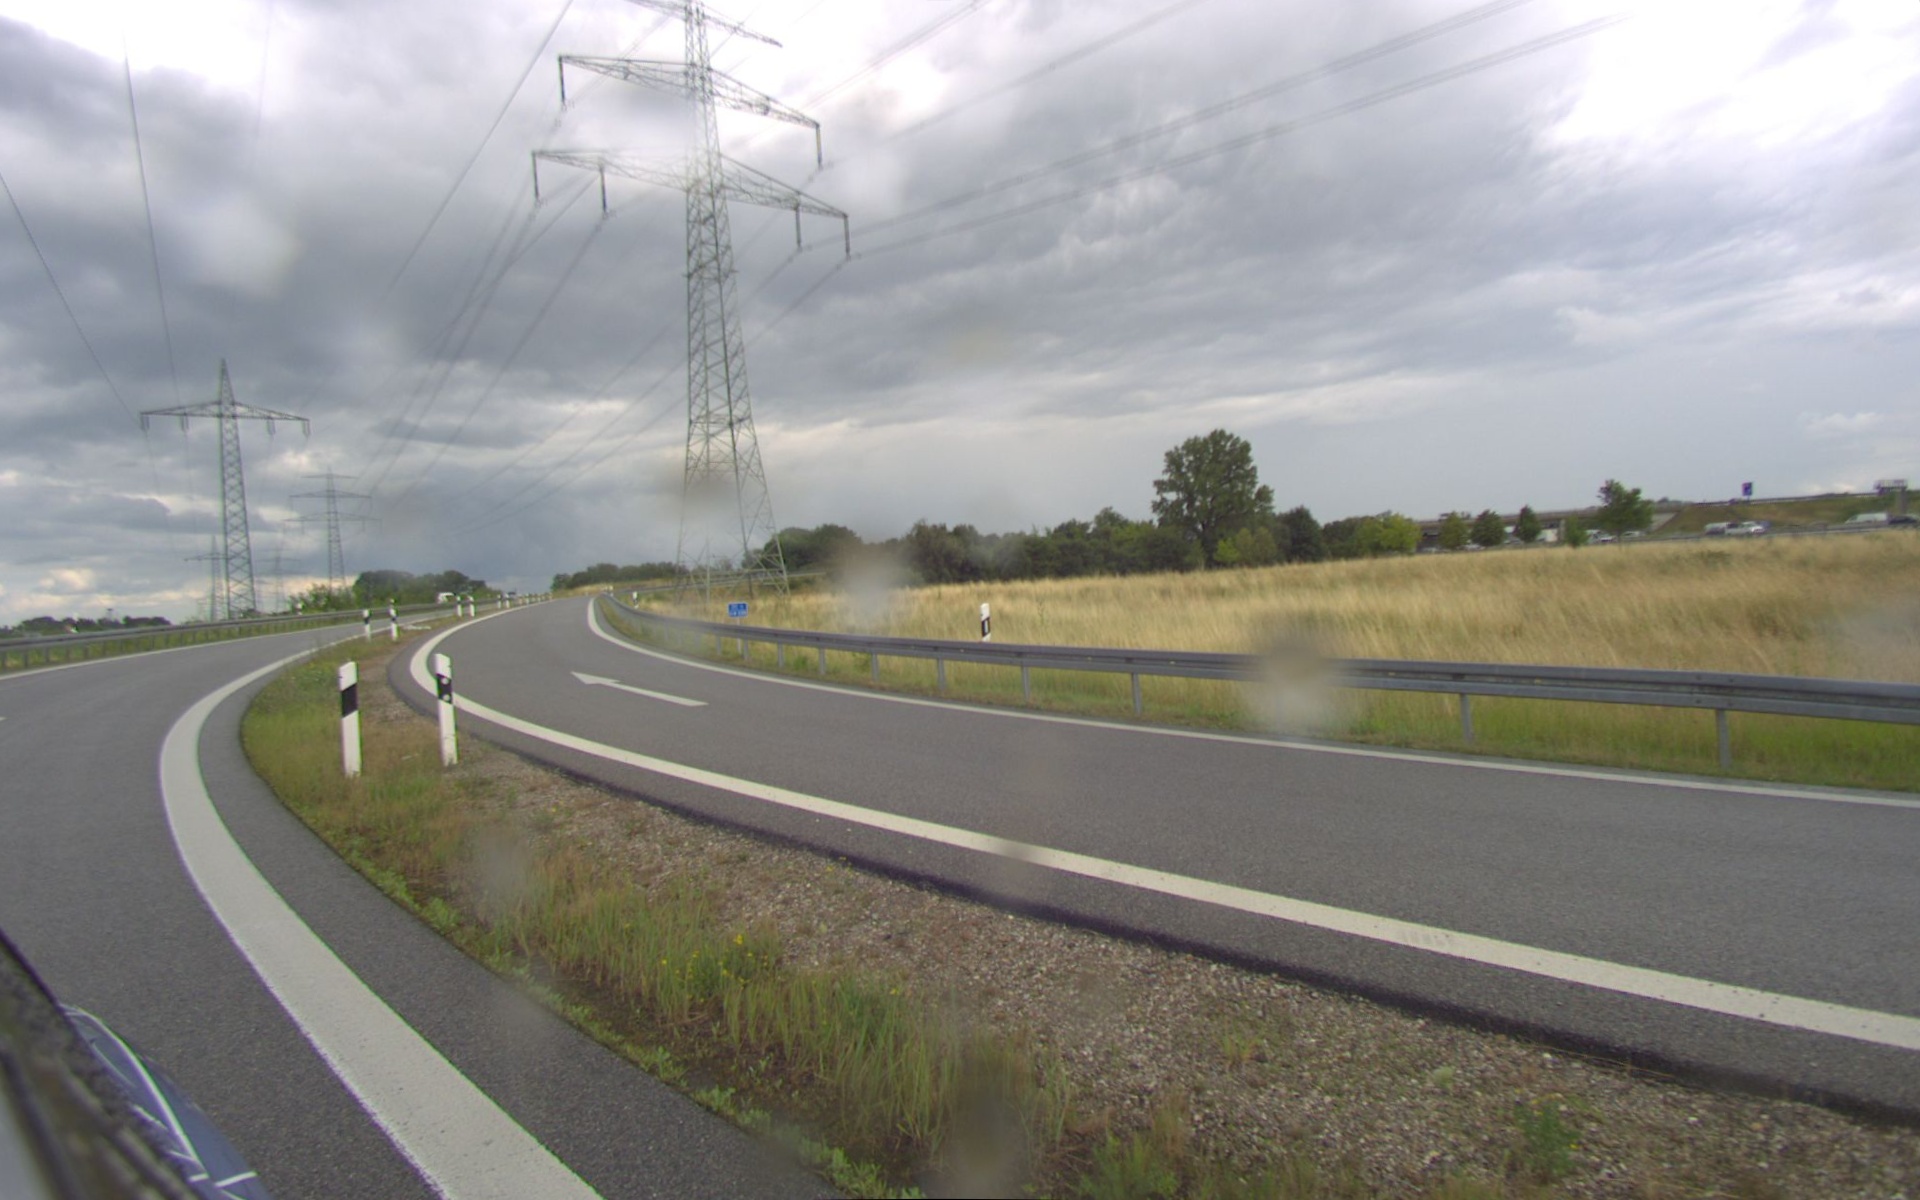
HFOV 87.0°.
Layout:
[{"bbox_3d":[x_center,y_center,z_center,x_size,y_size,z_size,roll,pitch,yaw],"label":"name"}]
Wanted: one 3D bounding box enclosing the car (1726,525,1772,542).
[{"bbox_3d":[105.783,-8.887,135.677,1.969,1.946,4.783,-4,1,-7],"label":"car"}]
